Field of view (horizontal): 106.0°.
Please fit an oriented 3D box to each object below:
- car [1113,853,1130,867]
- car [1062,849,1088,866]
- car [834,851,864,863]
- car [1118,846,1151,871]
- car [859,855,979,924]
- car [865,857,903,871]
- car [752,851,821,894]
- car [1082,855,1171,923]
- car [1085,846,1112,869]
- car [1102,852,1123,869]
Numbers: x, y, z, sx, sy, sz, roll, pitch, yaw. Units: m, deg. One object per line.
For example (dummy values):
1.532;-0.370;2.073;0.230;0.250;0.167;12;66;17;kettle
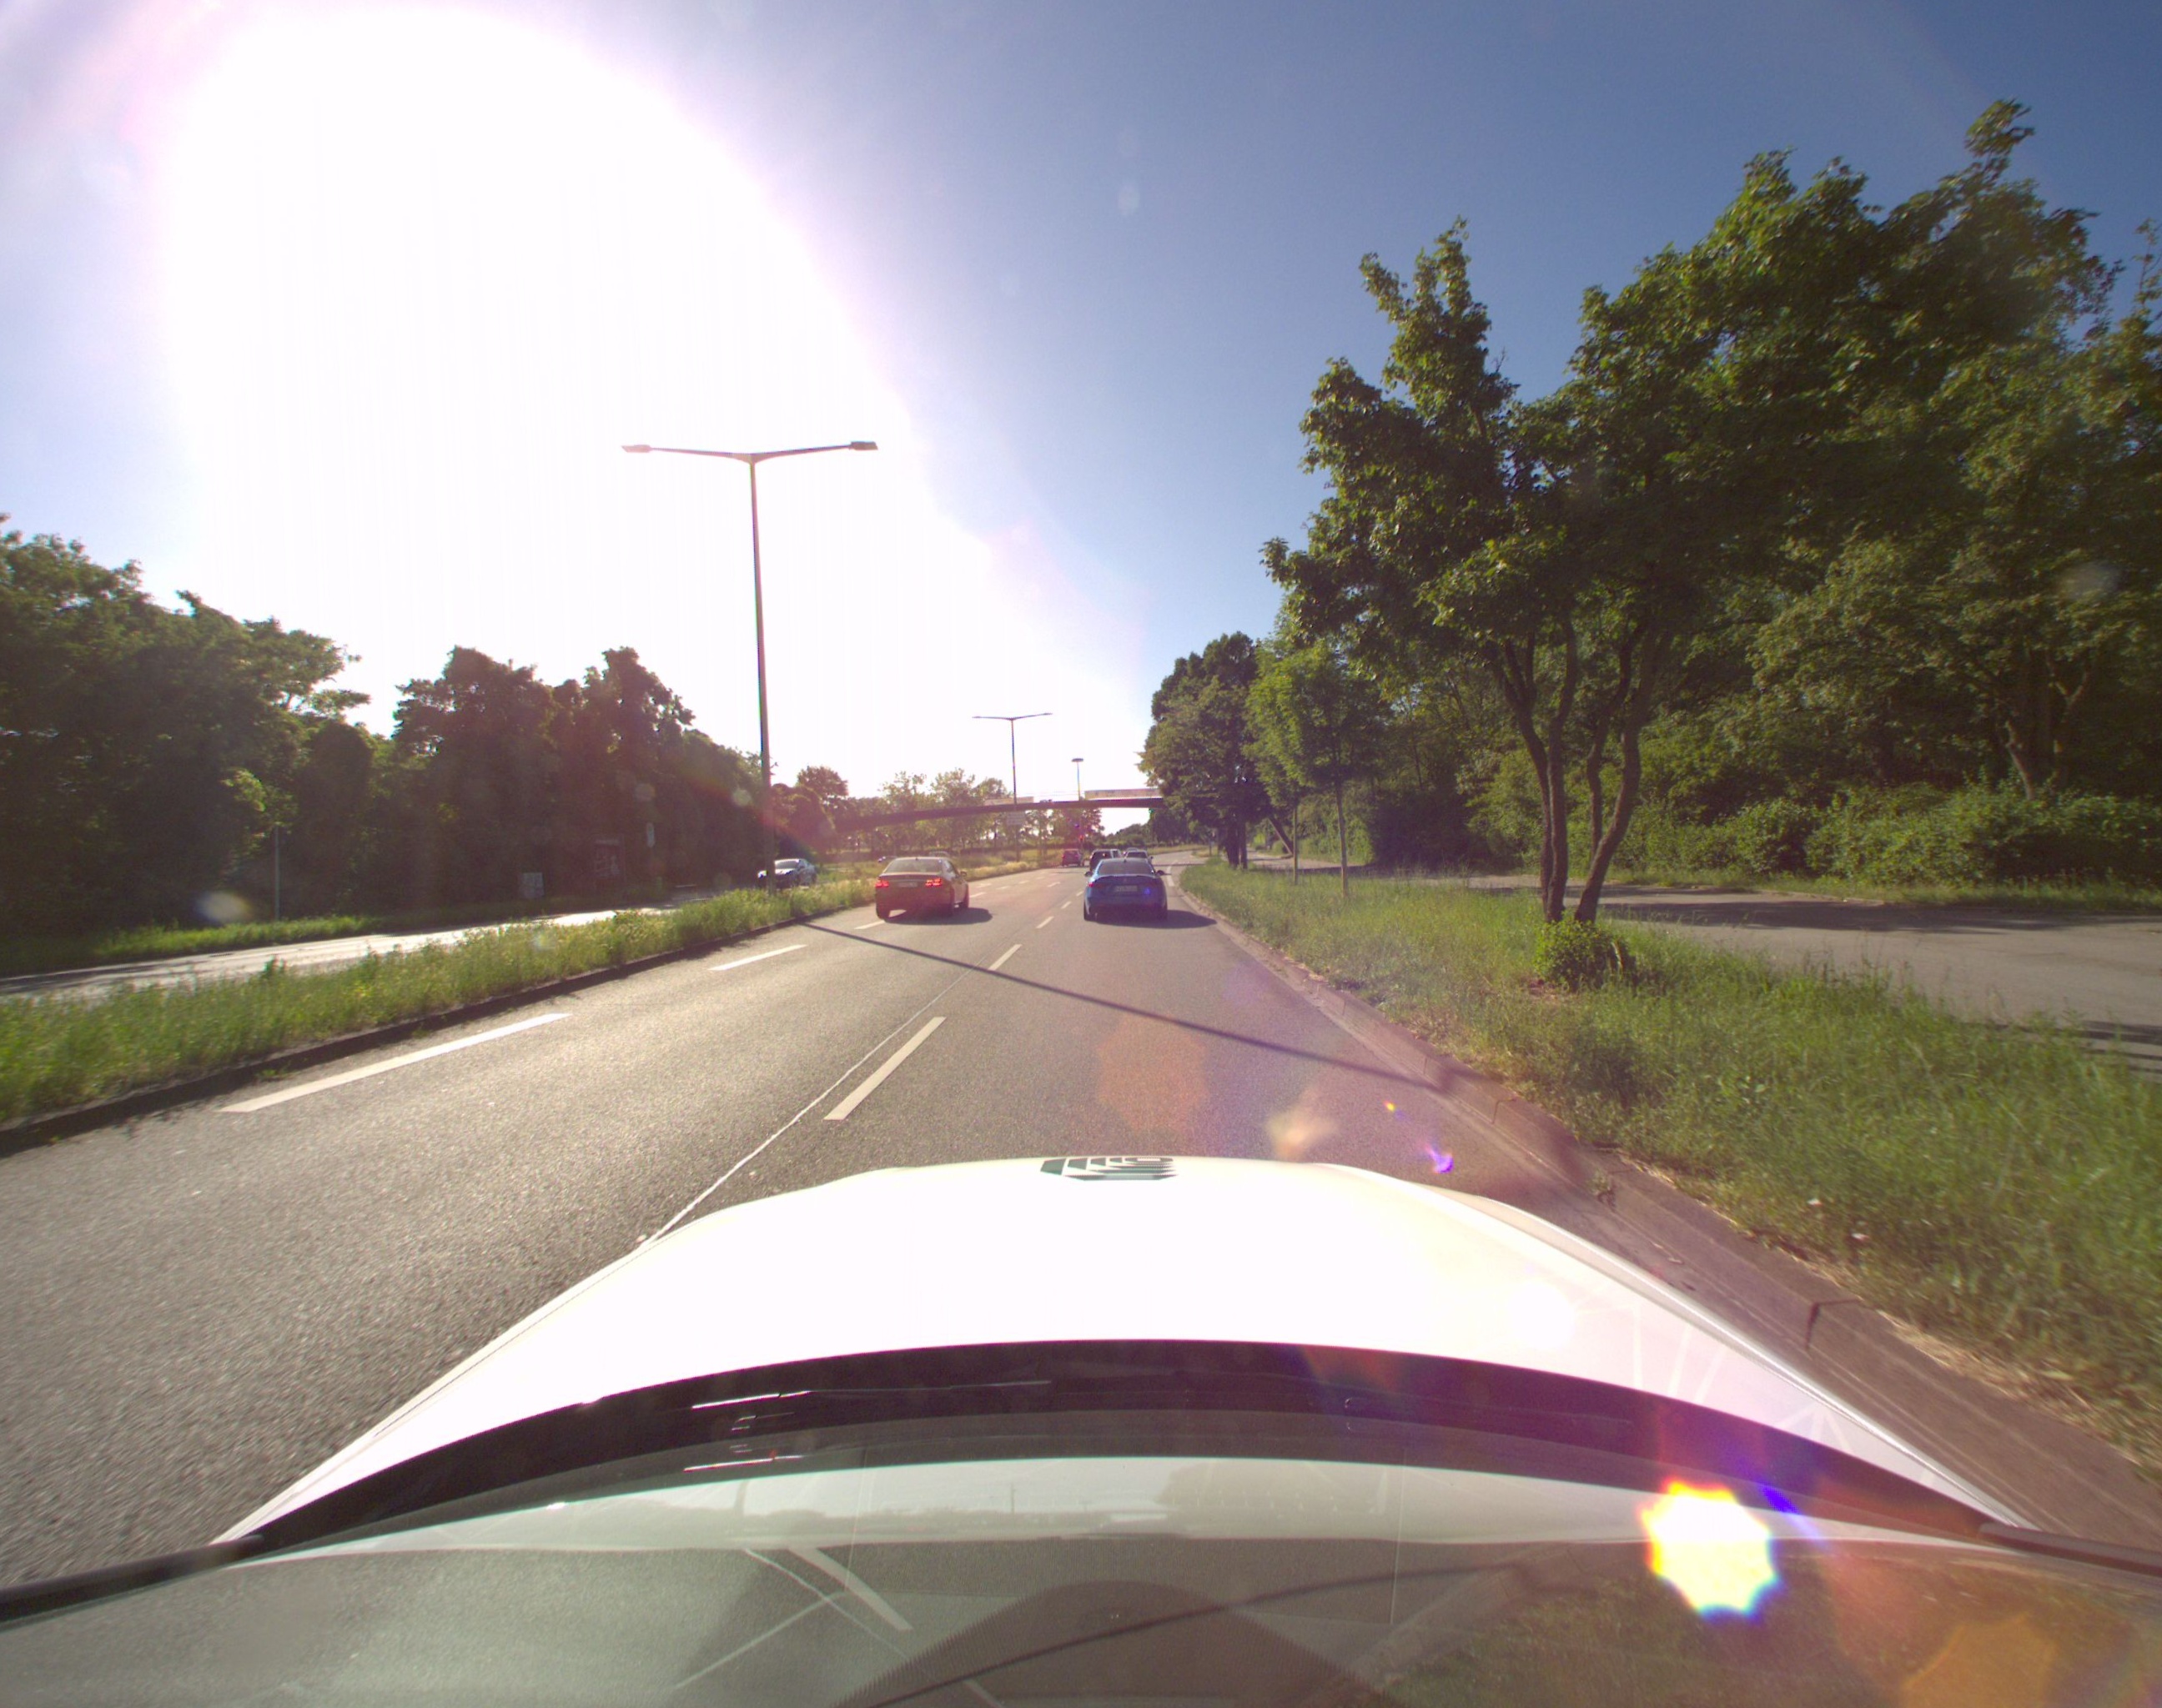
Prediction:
4.661;0.695;94.295;1.876;1.454;4.527;-1;0;1;car
-0.552;0.311;75.966;1.786;1.555;3.740;-1;0;10;car
-42.246;0.610;148.246;4.764;2.013;2.002;-1;0;3;car
3.310;0.281;51.020;1.876;1.454;4.527;-1;0;1;car
-4.055;0.826;21.290;1.951;1.483;4.920;-2;0;2;car
-24.855;1.206;102.703;4.270;1.650;2.010;-2;0;21;car
-14.963;0.907;41.655;1.988;2.013;4.578;-1;0;-2;car
1.023;0.759;19.627;1.876;1.406;4.225;-1;0;1;car
1.259;0.278;59.931;1.703;1.598;4.221;-1;0;-1;car
2.989;0.592;77.064;1.876;1.454;4.527;-1;0;1;car
